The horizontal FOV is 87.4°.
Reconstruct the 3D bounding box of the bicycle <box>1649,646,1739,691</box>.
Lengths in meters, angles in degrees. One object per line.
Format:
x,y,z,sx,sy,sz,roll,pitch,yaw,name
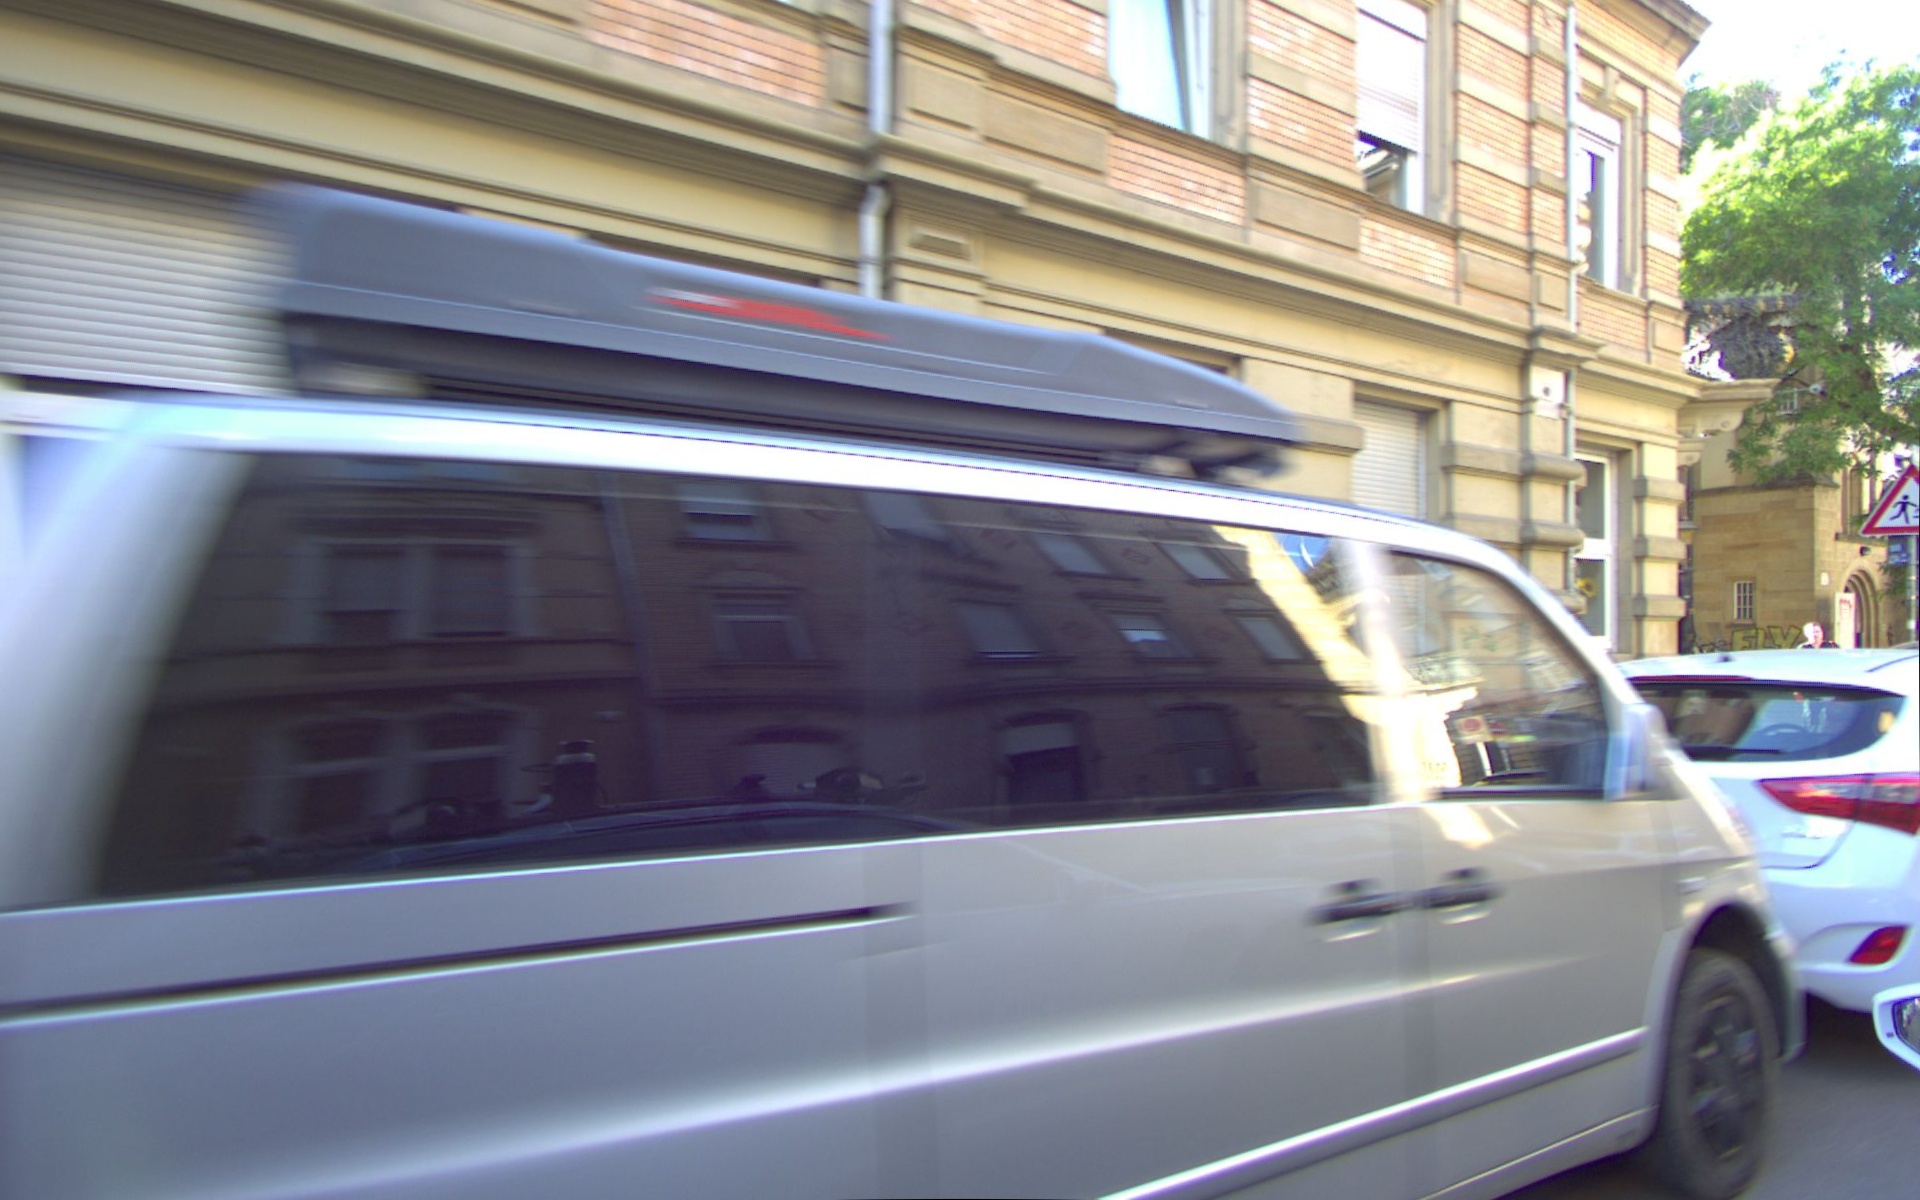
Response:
18.410,1.703,25.233,0.528,1.068,1.767,1,-1,-31,bicycle

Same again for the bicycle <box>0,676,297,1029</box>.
-3.531,0.900,3.700,1.764,1.140,0.663,1,1,-30,bicycle

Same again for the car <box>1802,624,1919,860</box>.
8.043,0.968,7.287,4.042,1.501,1.714,1,0,-31,car

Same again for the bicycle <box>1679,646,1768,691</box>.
19.675,1.747,25.916,0.473,1.068,1.767,1,-1,-30,bicycle

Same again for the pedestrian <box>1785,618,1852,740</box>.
11.750,1.051,13.742,0.659,1.601,0.755,1,0,43,pedestrian

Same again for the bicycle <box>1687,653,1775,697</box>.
20.096,1.938,26.223,0.473,1.068,1.767,1,-1,-30,bicycle

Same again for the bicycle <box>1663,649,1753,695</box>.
18.912,1.803,25.429,0.473,1.068,1.767,1,-1,-30,bicycle

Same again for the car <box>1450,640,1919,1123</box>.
4.239,0.946,4.777,3.832,1.439,1.665,1,0,-32,car

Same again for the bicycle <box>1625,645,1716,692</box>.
17.460,1.670,24.723,0.528,1.068,1.767,1,-1,-31,bicycle

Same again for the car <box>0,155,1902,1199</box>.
0.474,0.549,2.780,4.554,1.808,1.883,1,0,-30,car

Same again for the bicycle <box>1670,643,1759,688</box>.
19.240,1.660,25.638,0.473,1.068,1.767,1,-1,-30,bicycle
